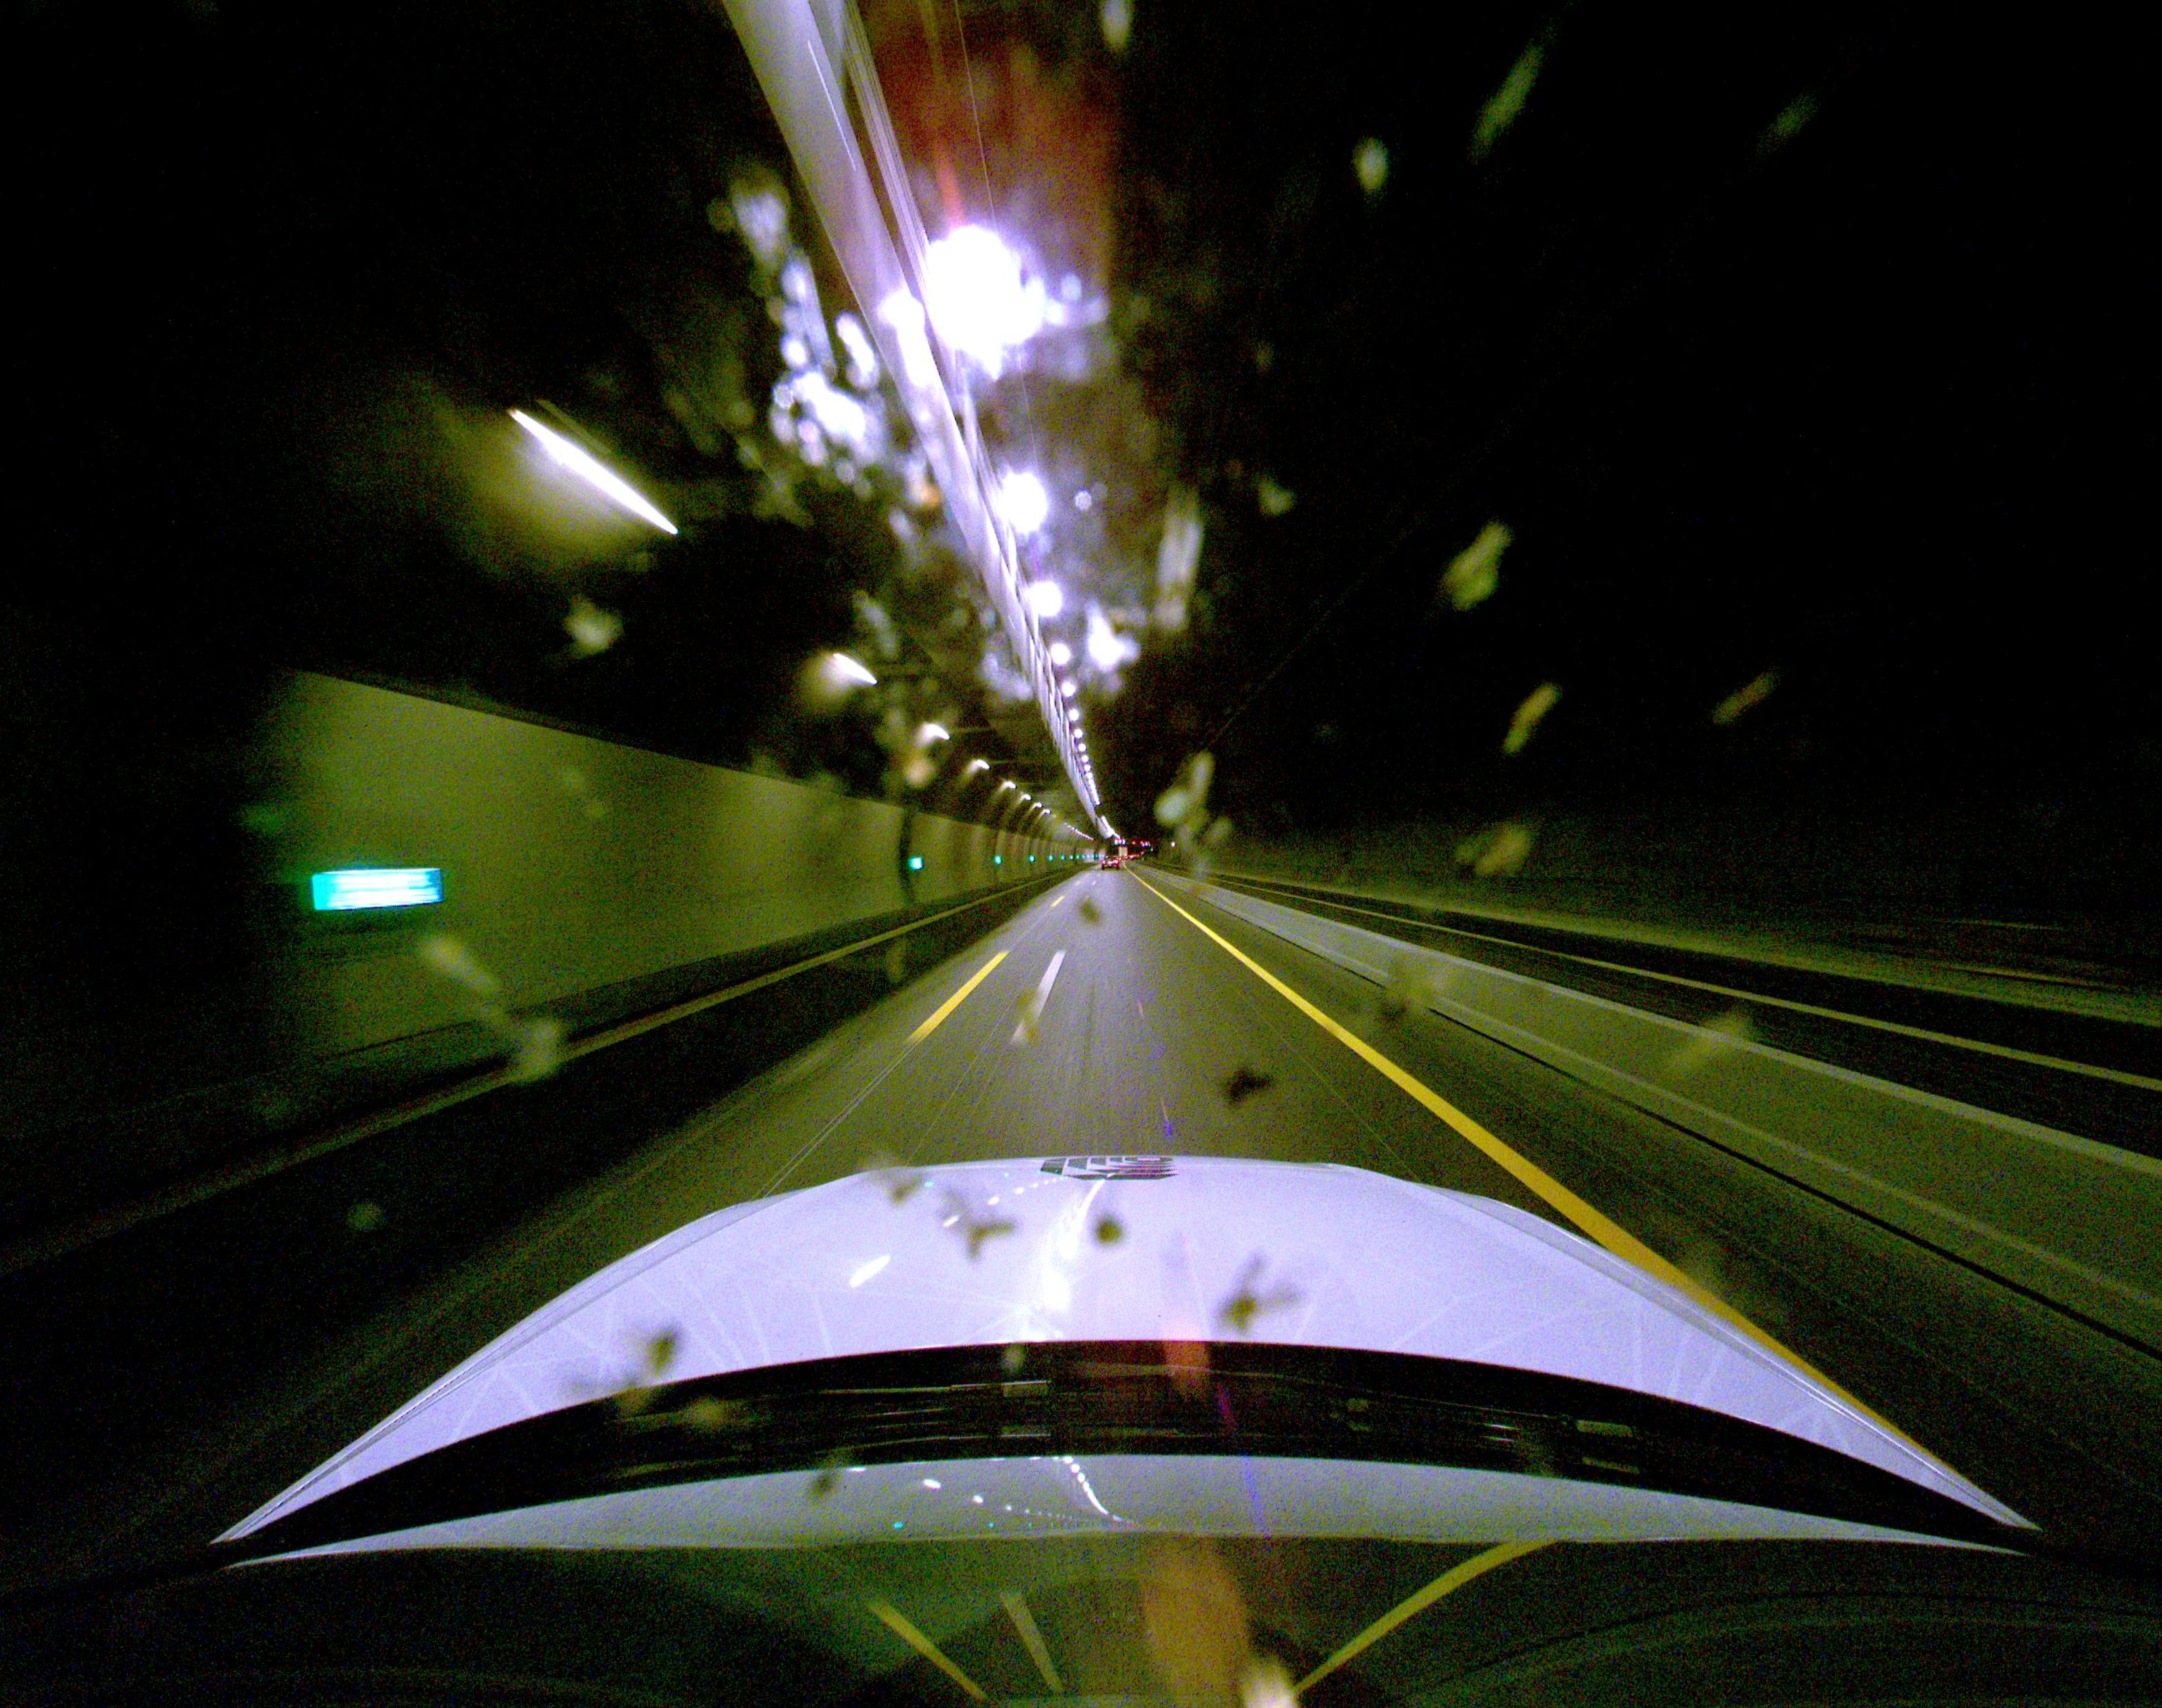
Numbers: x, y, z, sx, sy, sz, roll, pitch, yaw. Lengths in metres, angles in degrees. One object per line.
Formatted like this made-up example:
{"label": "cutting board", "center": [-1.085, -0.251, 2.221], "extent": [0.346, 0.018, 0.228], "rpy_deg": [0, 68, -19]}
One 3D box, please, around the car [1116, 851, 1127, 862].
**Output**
{"label": "car", "center": [7.835, 0.460, 157.947], "extent": [1.986, 2.013, 4.002], "rpy_deg": [-1, 0, 2]}

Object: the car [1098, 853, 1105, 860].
{"label": "car", "center": [5.219, 0.701, 209.990], "extent": [1.820, 1.607, 4.001], "rpy_deg": [-1, 0, 1]}

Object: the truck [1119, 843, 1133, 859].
{"label": "truck", "center": [14.524, -1.004, 261.804], "extent": [4.526, 4.987, 9.608], "rpy_deg": [-1, -1, 4]}

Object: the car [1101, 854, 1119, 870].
{"label": "car", "center": [3.100, 0.853, 87.095], "extent": [1.881, 1.607, 4.001], "rpy_deg": [-1, 0, 1]}
